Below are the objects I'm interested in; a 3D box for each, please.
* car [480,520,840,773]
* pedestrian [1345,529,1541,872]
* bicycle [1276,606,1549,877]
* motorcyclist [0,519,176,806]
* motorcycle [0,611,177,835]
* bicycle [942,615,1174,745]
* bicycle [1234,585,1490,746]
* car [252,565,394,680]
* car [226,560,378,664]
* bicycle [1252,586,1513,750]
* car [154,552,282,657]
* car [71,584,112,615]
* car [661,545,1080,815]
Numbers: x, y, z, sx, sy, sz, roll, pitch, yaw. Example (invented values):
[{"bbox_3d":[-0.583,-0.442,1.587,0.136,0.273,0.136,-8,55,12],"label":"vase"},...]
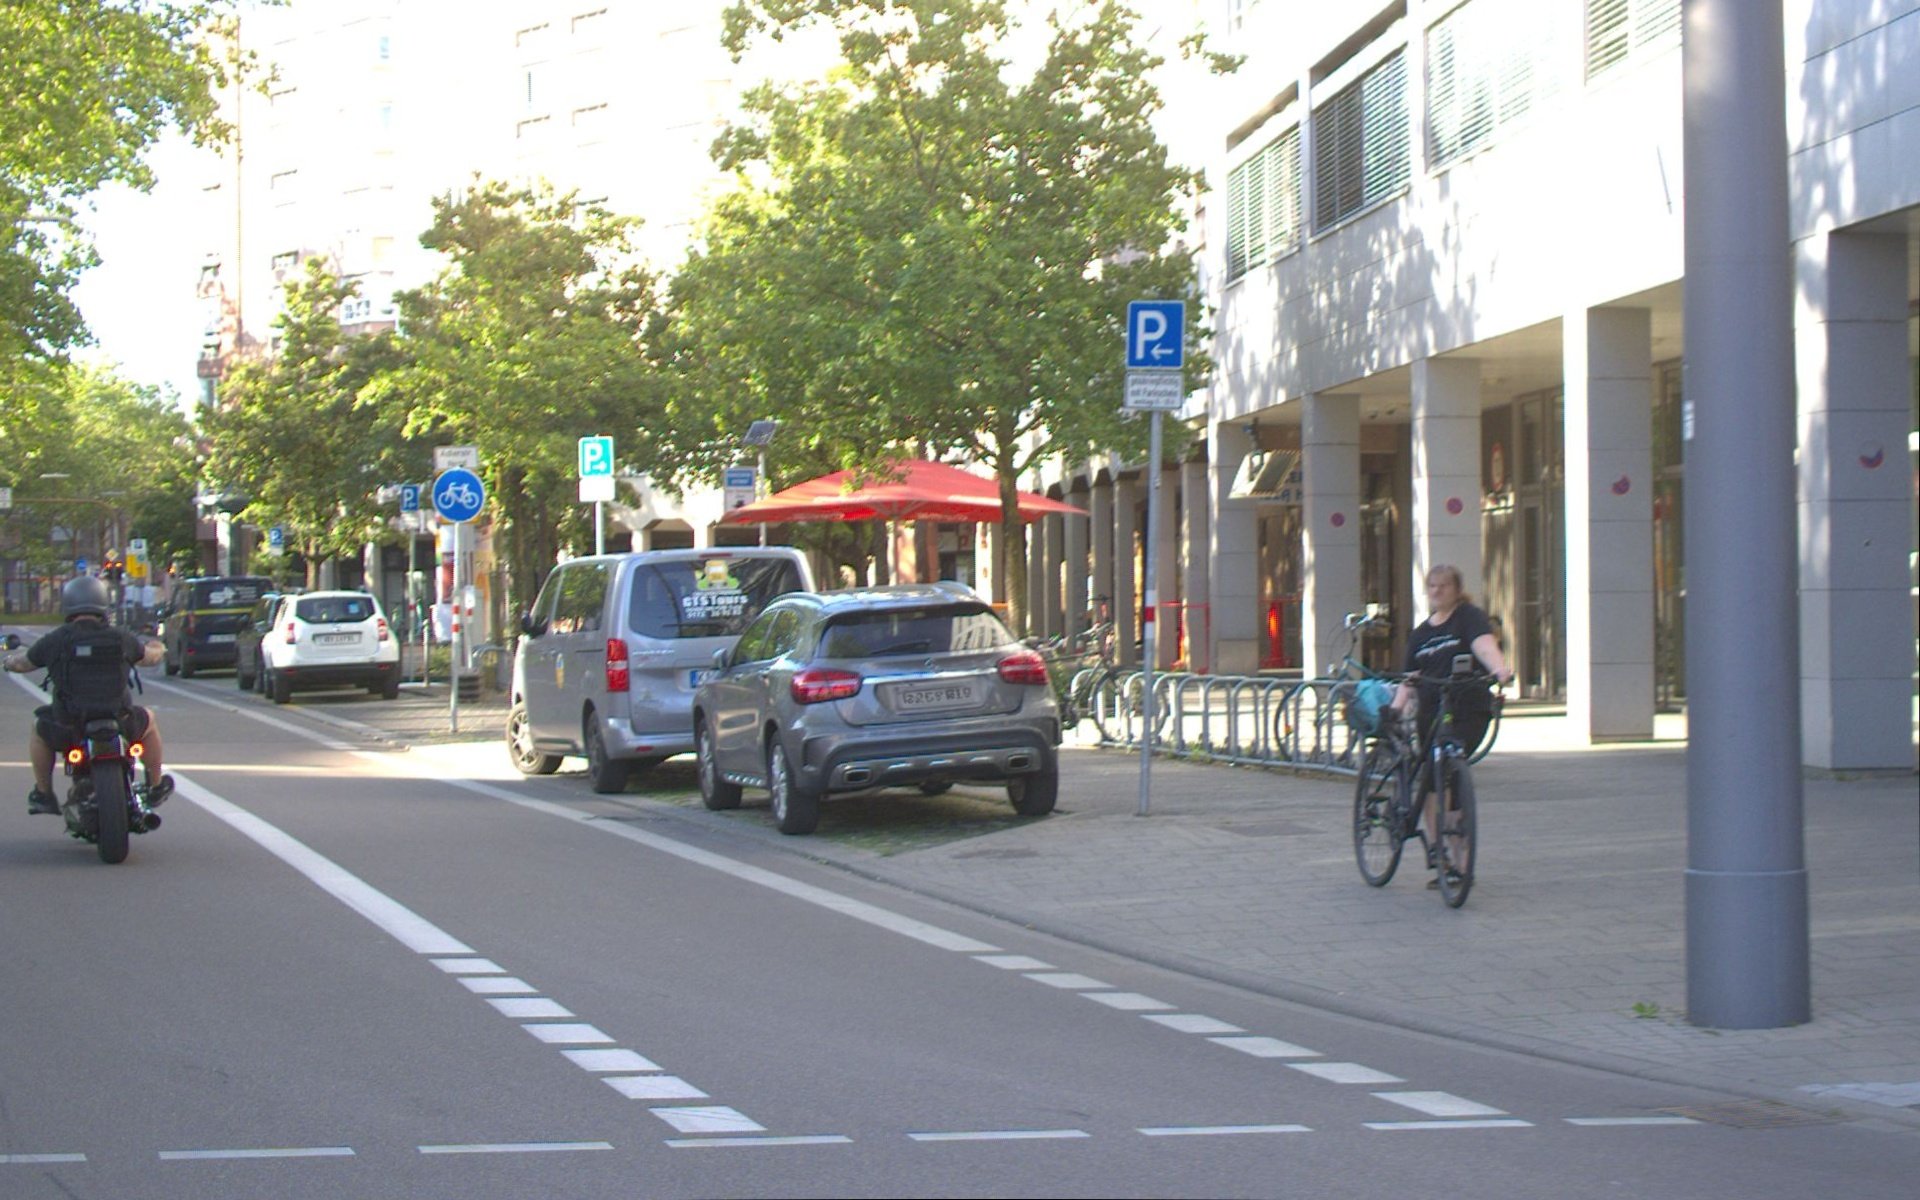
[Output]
[{"bbox_3d":[-2.599,0.347,28.552,1.922,1.837,4.926,-3,1,-17],"label":"car"},{"bbox_3d":[2.358,0.470,16.853,0.604,1.605,0.838,-3,2,-15],"label":"pedestrian"},{"bbox_3d":[2.163,0.650,16.680,0.610,1.159,1.848,-3,2,-15],"label":"bicycle"},{"bbox_3d":[-4.983,0.321,19.255,1.022,1.547,1.287,0,1,-19],"label":"motorcyclist"},{"bbox_3d":[-5.090,0.658,19.459,1.005,1.121,2.324,0,1,-20],"label":"motorcycle"},{"bbox_3d":[0.851,0.680,29.849,1.866,1.097,0.741,0,0,-20],"label":"bicycle"},{"bbox_3d":[3.030,0.486,25.924,1.832,1.148,0.470,-1,1,-11],"label":"bicycle"},{"bbox_3d":[-9.548,0.320,51.330,1.859,1.632,3.869,-1,0,-14],"label":"car"},{"bbox_3d":[-10.964,0.199,57.079,1.986,1.623,4.086,-1,0,-18],"label":"car"},{"bbox_3d":[3.127,0.496,25.455,1.832,1.148,0.470,-1,1,-11],"label":"bicycle"},{"bbox_3d":[-14.694,0.075,67.881,2.029,1.970,4.416,-1,0,-18],"label":"car"},{"bbox_3d":[-49.177,-0.028,194.676,1.993,1.700,4.001,0,0,-10],"label":"car"},{"bbox_3d":[-0.721,0.482,23.232,1.859,1.567,4.416,-3,1,-14],"label":"car"}]
